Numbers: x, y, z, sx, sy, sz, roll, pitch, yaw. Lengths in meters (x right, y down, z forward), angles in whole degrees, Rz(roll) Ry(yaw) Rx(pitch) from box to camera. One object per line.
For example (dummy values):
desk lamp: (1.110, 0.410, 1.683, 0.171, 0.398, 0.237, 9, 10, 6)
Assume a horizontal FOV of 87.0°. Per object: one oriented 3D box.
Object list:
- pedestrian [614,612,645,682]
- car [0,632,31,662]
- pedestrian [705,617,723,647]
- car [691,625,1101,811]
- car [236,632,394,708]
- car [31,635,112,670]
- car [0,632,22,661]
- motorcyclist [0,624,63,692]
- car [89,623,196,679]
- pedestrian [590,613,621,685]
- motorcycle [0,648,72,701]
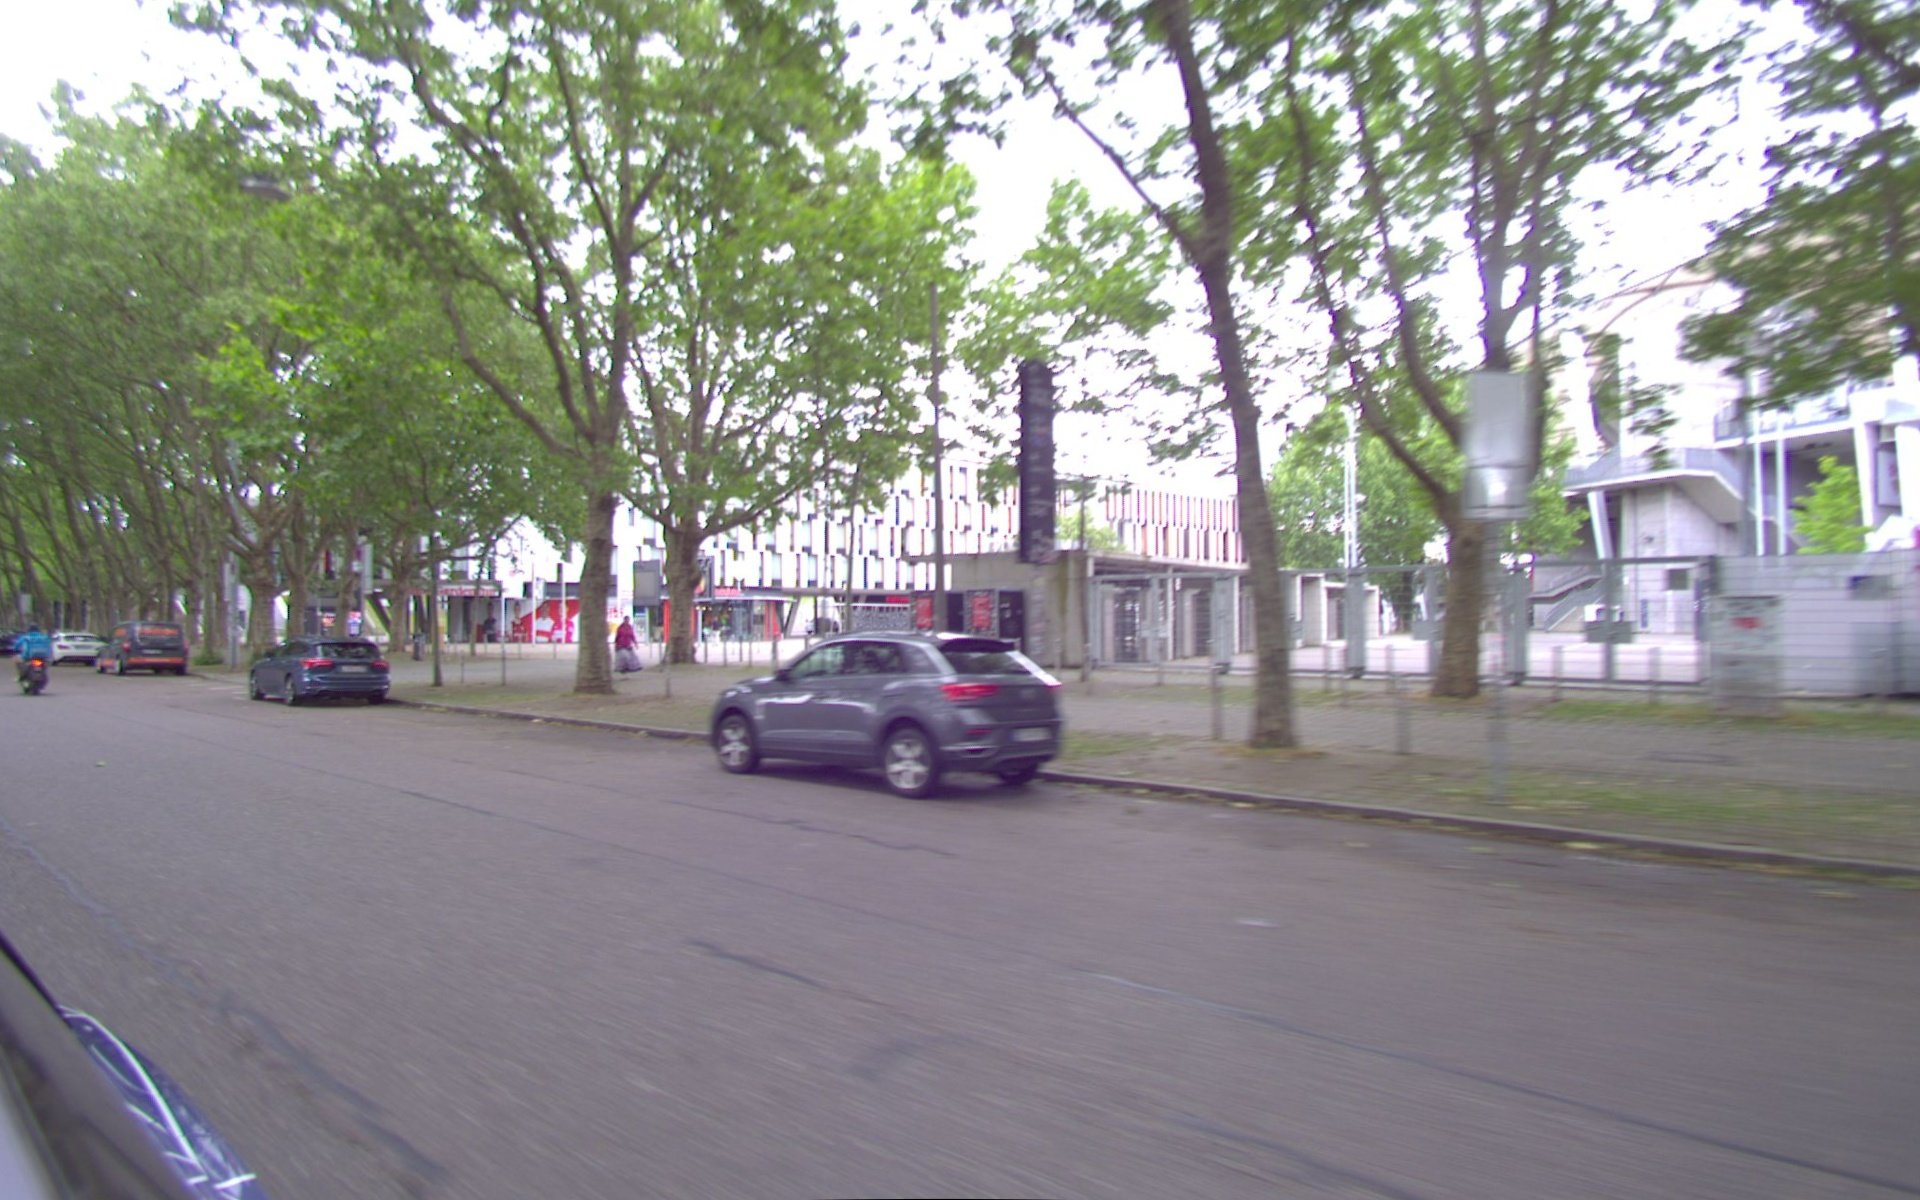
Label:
pedestrian: (-8.509, 1.202, 26.064, 0.567, 1.755, 0.769, 0, -2, -35)
car: (-51.765, 2.526, 54.619, 4.440, 1.506, 1.814, -2, -5, 41)
pedestrian: (-14.305, 1.871, 58.907, 0.808, 1.704, 0.716, -2, -2, 44)
car: (-0.799, 1.051, 10.488, 4.149, 1.538, 1.858, -2, -3, 41)
car: (-14.232, 1.460, 22.218, 4.572, 1.497, 1.707, -2, -2, 41)
car: (-37.994, 2.226, 43.230, 4.748, 1.413, 1.884, -2, -5, 41)
car: (-55.828, 2.660, 58.412, 4.926, 1.656, 1.917, -2, -5, 42)
motorcyclist: (-21.003, 1.293, 22.862, 1.263, 1.491, 0.862, -2, -2, 37)
car: (-27.555, 1.678, 34.077, 4.635, 1.764, 1.929, -2, -3, 40)
pedestrian: (-8.991, 1.227, 25.677, 0.569, 1.783, 0.769, 0, -2, -35)
motorcycle: (-21.108, 1.648, 22.962, 3.048, 1.087, 0.865, -2, -2, 38)
